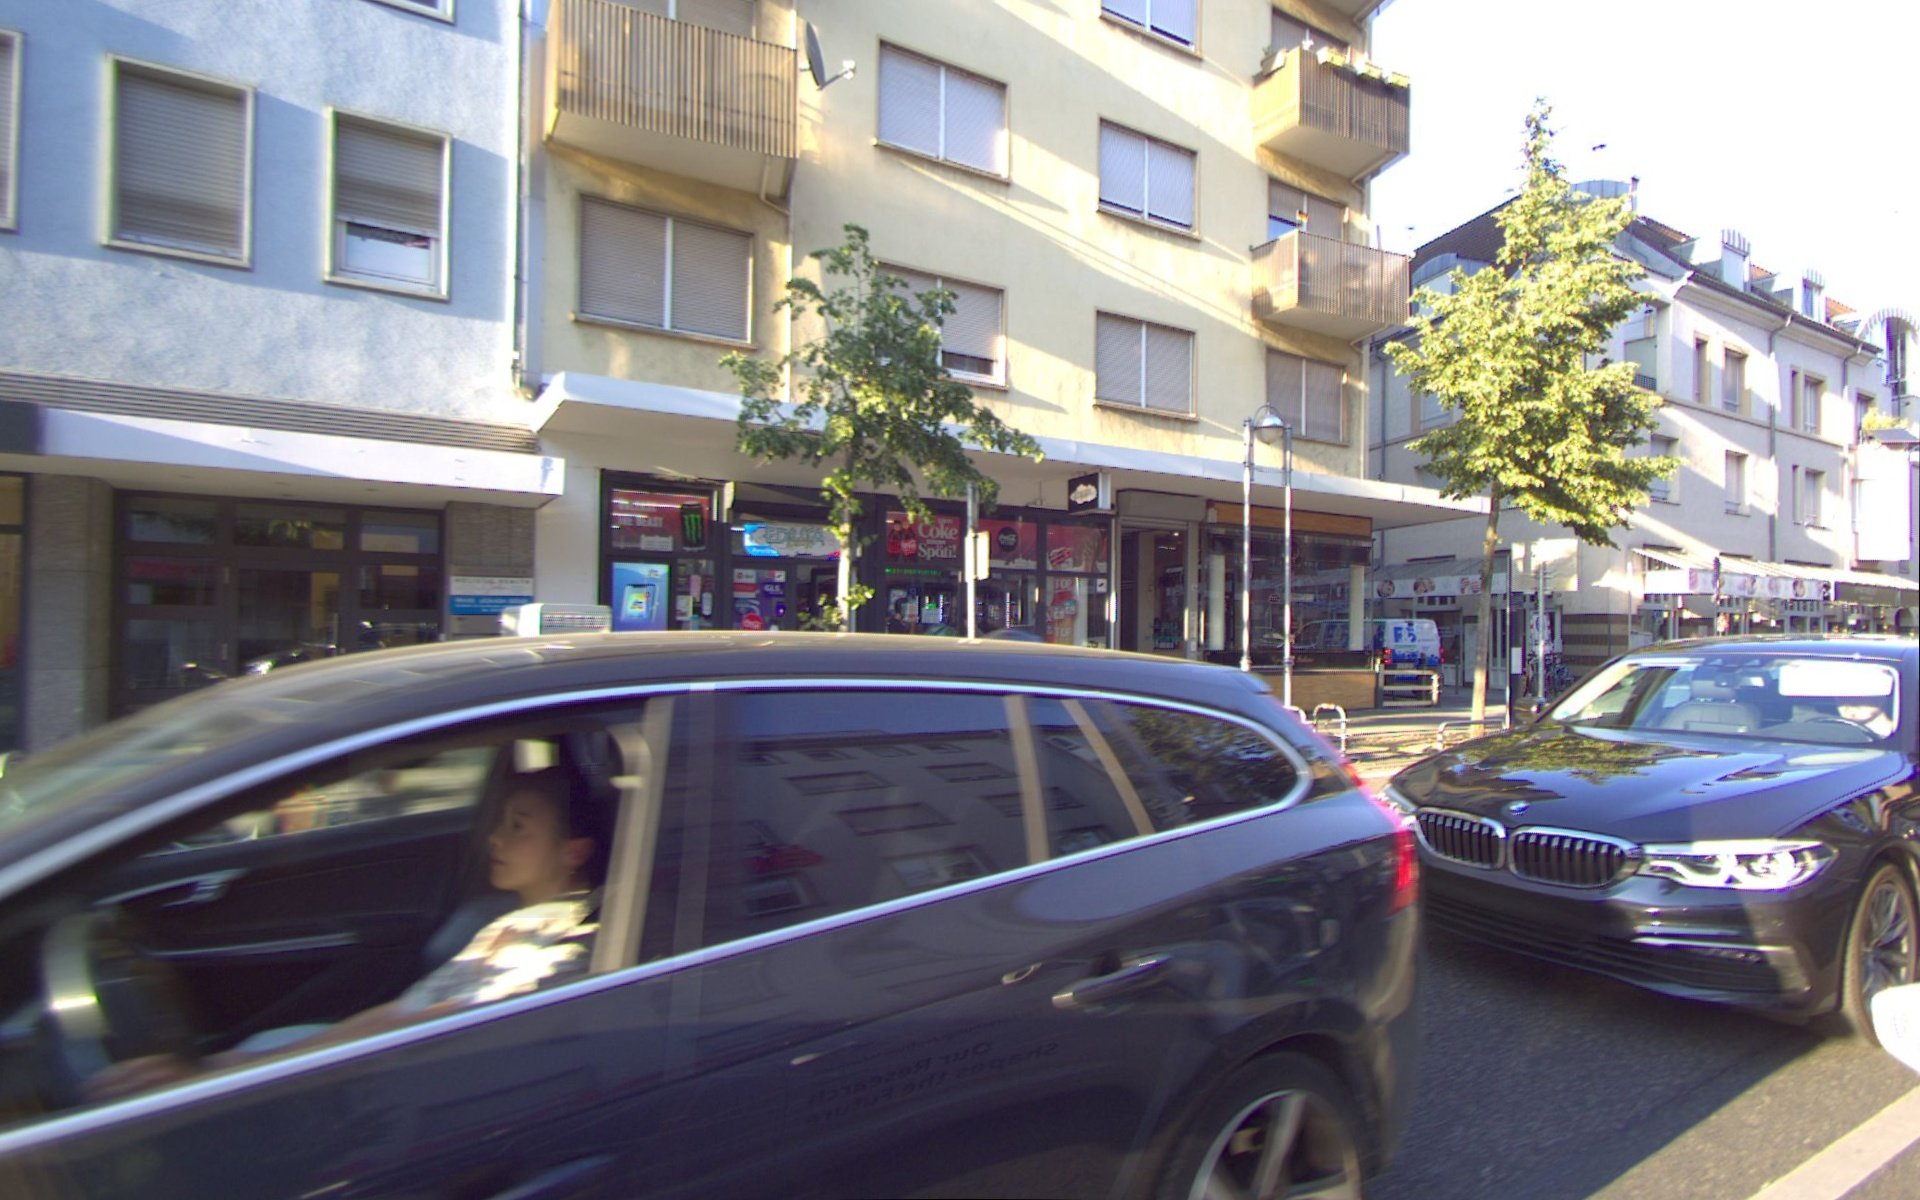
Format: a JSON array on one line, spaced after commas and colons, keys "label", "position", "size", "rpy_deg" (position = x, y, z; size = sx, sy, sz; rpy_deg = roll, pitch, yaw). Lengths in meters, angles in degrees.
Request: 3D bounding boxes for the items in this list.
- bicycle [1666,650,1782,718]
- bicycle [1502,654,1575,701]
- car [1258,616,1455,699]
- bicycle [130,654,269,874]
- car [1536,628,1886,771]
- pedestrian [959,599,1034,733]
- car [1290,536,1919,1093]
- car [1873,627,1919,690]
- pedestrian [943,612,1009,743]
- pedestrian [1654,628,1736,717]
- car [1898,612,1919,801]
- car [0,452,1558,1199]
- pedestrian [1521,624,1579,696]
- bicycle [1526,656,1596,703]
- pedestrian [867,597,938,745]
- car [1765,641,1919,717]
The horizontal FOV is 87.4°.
[{"label": "bicycle", "position": [16.250, 1.748, 21.327], "size": [3.093, 1.317, 0.953], "rpy_deg": [2, -1, -33]}, {"label": "bicycle", "position": [13.248, 1.768, 22.996], "size": [1.992, 1.005, 0.487], "rpy_deg": [2, -1, -30]}, {"label": "car", "position": [10.003, 1.390, 25.821], "size": [1.970, 1.852, 4.859], "rpy_deg": [2, -1, -20]}, {"label": "bicycle", "position": [-5.285, 1.046, 7.074], "size": [0.485, 1.235, 2.000], "rpy_deg": [2, -1, -30]}, {"label": "car", "position": [9.607, 1.210, 12.794], "size": [4.458, 1.531, 1.984], "rpy_deg": [2, -5, -31]}, {"label": "pedestrian", "position": [0.519, 0.927, 14.382], "size": [0.803, 1.843, 0.738], "rpy_deg": [1, -2, -28]}, {"label": "car", "position": [3.985, 0.756, 5.034], "size": [4.562, 1.666, 1.937], "rpy_deg": [2, -3, -30]}, {"label": "car", "position": [24.482, 1.481, 24.932], "size": [3.682, 1.473, 1.702], "rpy_deg": [2, -1, -31]}, {"label": "pedestrian", "position": [0.226, 1.020, 13.544], "size": [0.728, 1.698, 0.770], "rpy_deg": [1, -1, 12]}, {"label": "pedestrian", "position": [14.829, 1.442, 20.275], "size": [0.975, 1.698, 0.905], "rpy_deg": [-1, 0, -8]}, {"label": "car", "position": [10.262, 0.943, 8.866], "size": [4.413, 1.569, 1.716], "rpy_deg": [2, -3, -30]}, {"label": "car", "position": [-0.990, 0.679, 1.959], "size": [4.461, 1.568, 1.947], "rpy_deg": [1, -2, -33]}, {"label": "pedestrian", "position": [14.344, 1.451, 24.438], "size": [0.767, 1.698, 0.903], "rpy_deg": [2, -1, -16]}, {"label": "bicycle", "position": [13.470, 1.770, 22.490], "size": [1.994, 1.005, 0.487], "rpy_deg": [2, -1, -33]}, {"label": "pedestrian", "position": [-0.767, 0.911, 13.217], "size": [0.732, 1.872, 0.766], "rpy_deg": [0, -1, -21]}, {"label": "car", "position": [18.997, 1.653, 21.411], "size": [3.840, 1.421, 1.652], "rpy_deg": [2, -1, -31]}]
